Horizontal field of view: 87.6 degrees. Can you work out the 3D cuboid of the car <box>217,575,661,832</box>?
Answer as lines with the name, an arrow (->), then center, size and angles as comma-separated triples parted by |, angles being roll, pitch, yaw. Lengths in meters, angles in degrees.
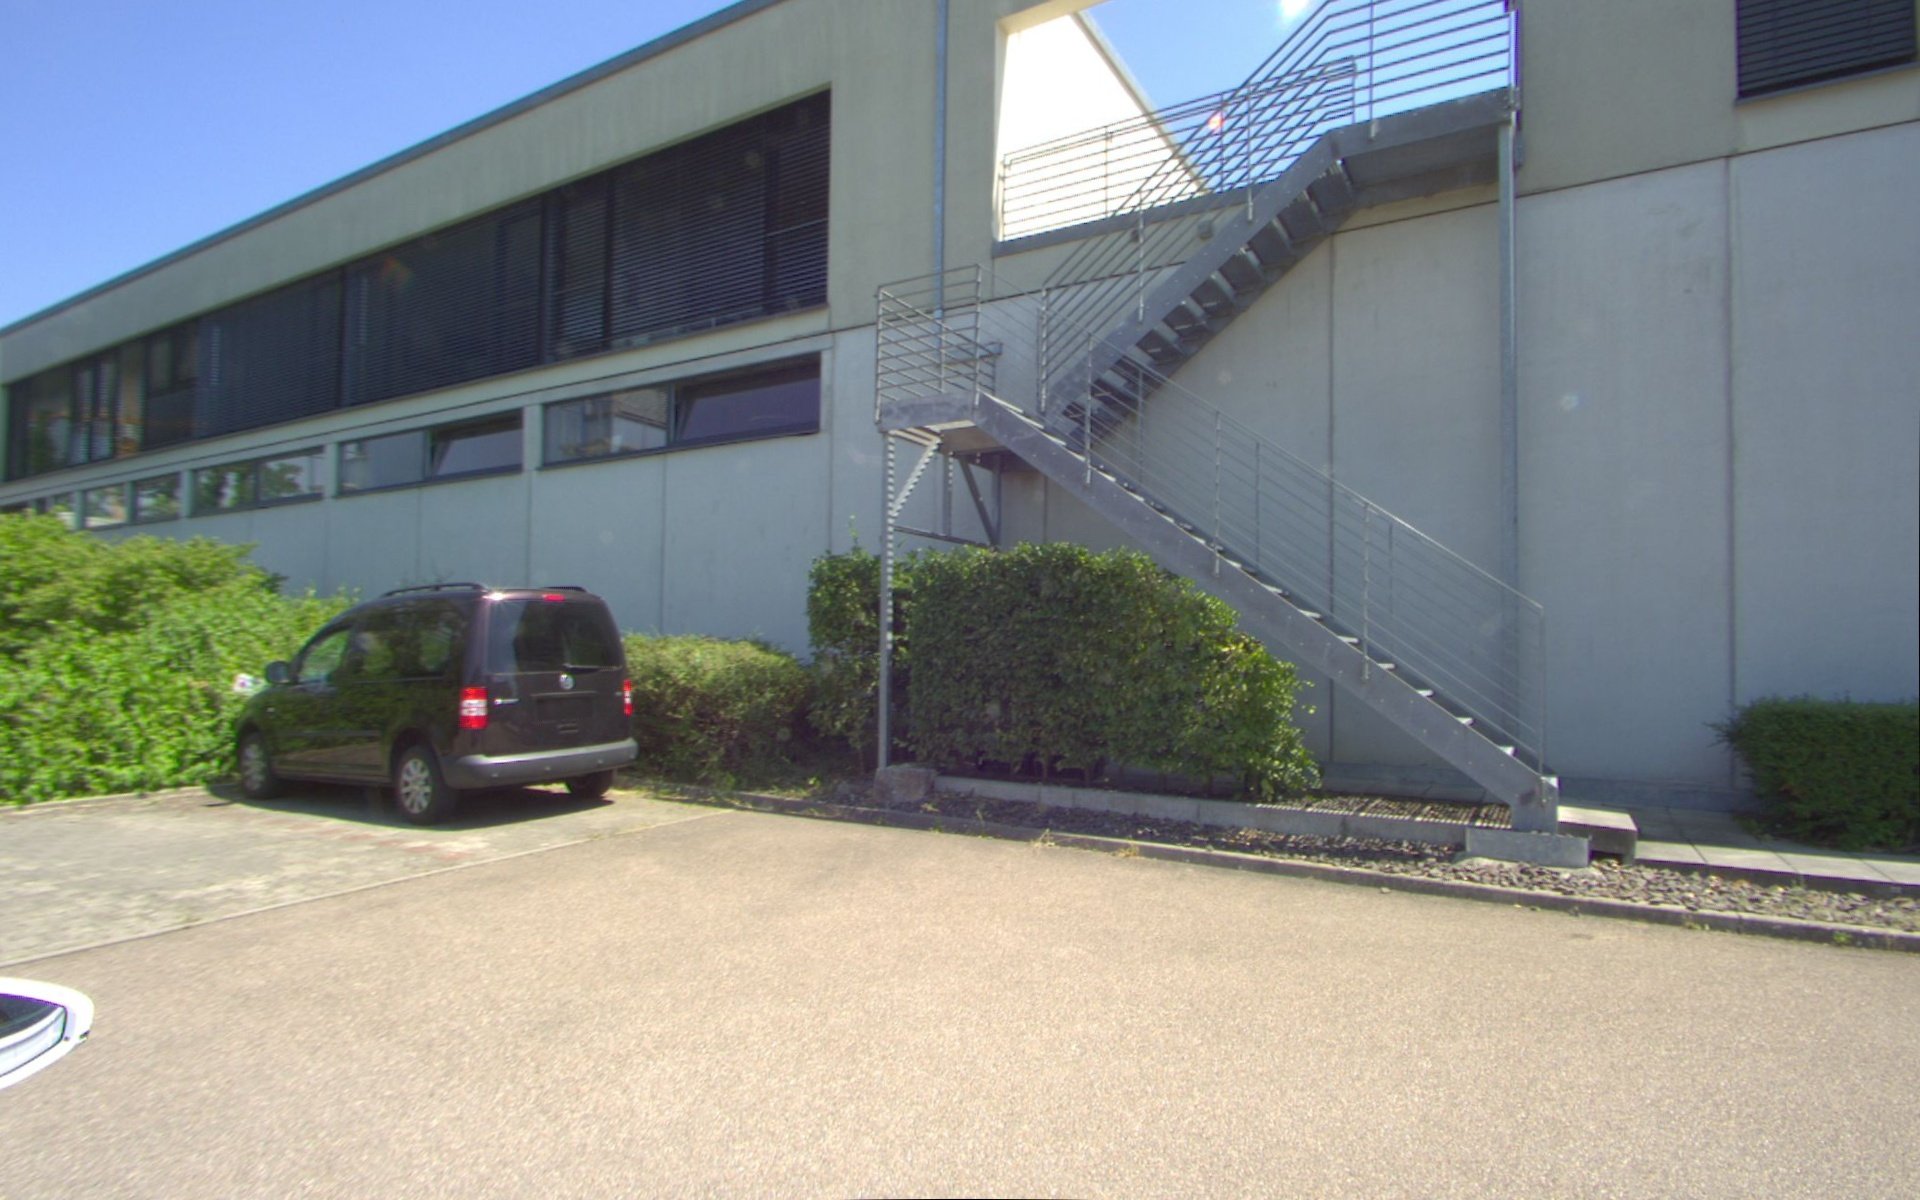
car -> -4.754, 0.818, 9.032 | 3.941, 1.860, 1.741 | -1, -2, 31
